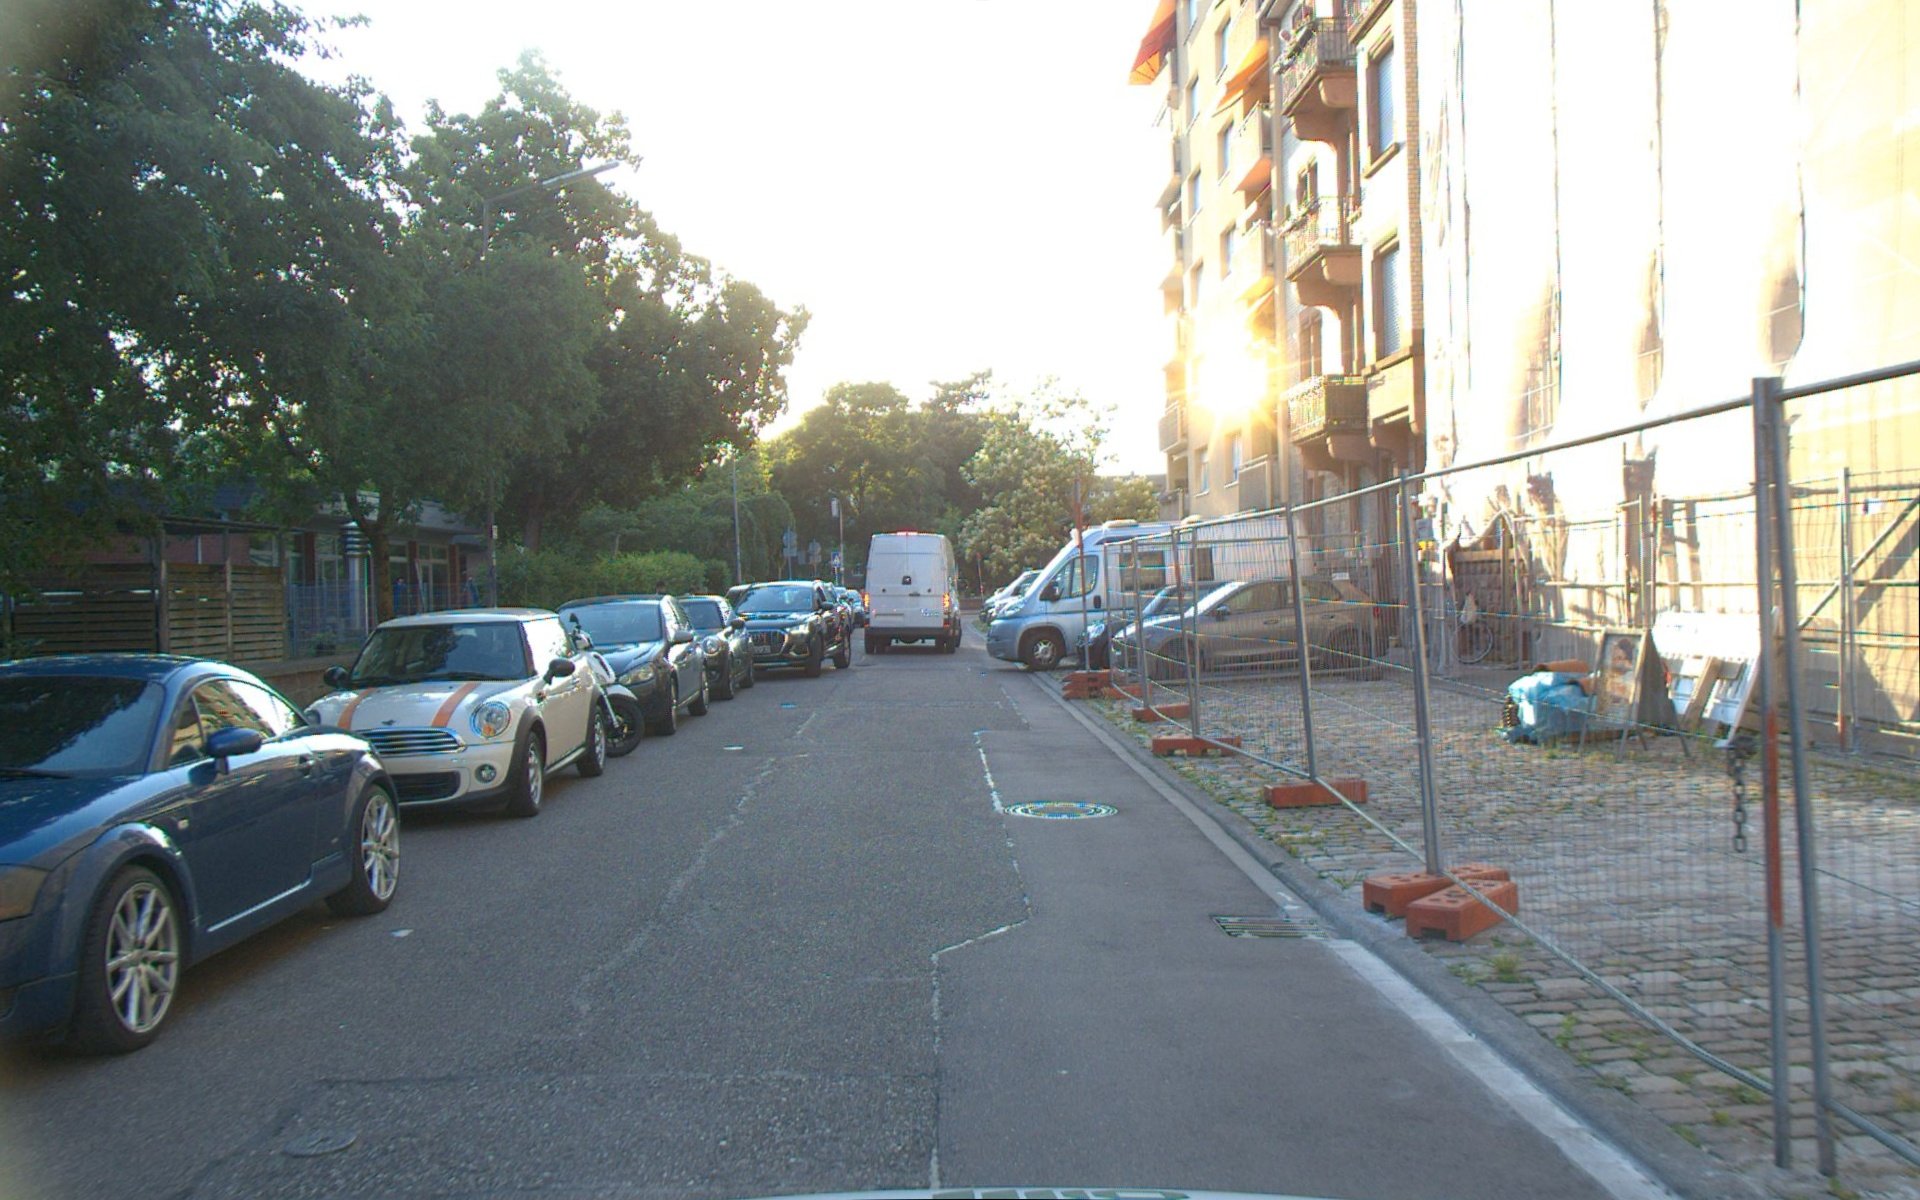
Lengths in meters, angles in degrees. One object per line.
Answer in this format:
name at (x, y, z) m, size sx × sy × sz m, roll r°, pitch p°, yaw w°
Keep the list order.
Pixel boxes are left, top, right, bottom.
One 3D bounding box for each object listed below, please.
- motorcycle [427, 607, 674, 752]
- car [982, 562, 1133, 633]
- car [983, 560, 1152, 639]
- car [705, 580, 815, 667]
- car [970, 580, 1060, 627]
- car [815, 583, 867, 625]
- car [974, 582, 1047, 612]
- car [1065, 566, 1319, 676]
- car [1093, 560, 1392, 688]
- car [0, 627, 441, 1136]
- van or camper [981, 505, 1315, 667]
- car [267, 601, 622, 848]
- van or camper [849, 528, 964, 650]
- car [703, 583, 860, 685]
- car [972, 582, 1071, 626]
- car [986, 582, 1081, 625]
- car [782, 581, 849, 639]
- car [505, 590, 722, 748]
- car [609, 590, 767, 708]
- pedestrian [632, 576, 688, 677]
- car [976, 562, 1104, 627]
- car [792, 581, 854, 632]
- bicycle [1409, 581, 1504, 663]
motorcycle at (-3.905, 0.734, 15.821) m, size 2.118 × 1.326 × 0.881 m, roll 0°, pitch 0°, yaw 13°
car at (3.068, -0.077, 52.551) m, size 4.612 × 2.183 × 1.999 m, roll 0°, pitch 0°, yaw -3°
car at (3.021, -0.031, 47.126) m, size 4.612 × 2.183 × 1.999 m, roll 0°, pitch 0°, yaw -3°
car at (-4.253, 0.466, 35.685) m, size 1.747 × 1.659 × 4.000 m, roll -3°, pitch 0°, yaw 1°
car at (2.392, 0.150, 72.960) m, size 3.905 × 2.049 × 2.000 m, roll 0°, pitch 0°, yaw 0°
car at (-4.750, 0.135, 66.466) m, size 1.954 × 1.646 × 3.998 m, roll 0°, pitch 0°, yaw -3°
car at (2.799, -0.166, 92.593) m, size 3.909 × 1.646 × 1.998 m, roll 0°, pitch 0°, yaw -5°
car at (3.745, 0.349, 27.227) m, size 3.855 × 1.512 × 1.787 m, roll -4°, pitch -1°, yaw 0°
car at (4.108, 0.331, 24.493) m, size 3.911 × 1.542 × 2.017 m, roll -4°, pitch 1°, yaw -6°
car at (-3.580, 0.867, 6.715) m, size 1.625 × 1.336 × 4.154 m, roll -3°, pitch 1°, yaw -1°
van or camper at (3.334, -0.259, 30.151) m, size 5.809 × 2.818 × 2.109 m, roll 0°, pitch 0°, yaw -3°
car at (-3.721, 0.805, 12.601) m, size 1.569 × 1.456 × 3.802 m, roll -4°, pitch 0°, yaw -3°
van or camper at (-1.145, -0.265, 38.557) m, size 2.403 × 2.591 × 6.083 m, roll 1°, pitch 0°, yaw 1°
car at (-3.031, 0.528, 28.986) m, size 1.766 × 1.596 × 4.568 m, roll -2°, pitch 0°, yaw 6°
car at (2.467, 0.158, 67.268) m, size 3.906 × 1.758 × 2.000 m, roll 0°, pitch 0°, yaw -1°
car at (3.099, 0.140, 70.324) m, size 3.906 × 1.758 × 2.000 m, roll 0°, pitch 0°, yaw -1°
car at (-4.479, 0.286, 51.232) m, size 1.955 × 1.691 × 3.996 m, roll -1°, pitch 0°, yaw -5°
car at (-3.842, 0.688, 19.016) m, size 1.681 × 1.522 × 4.358 m, roll -3°, pitch 1°, yaw -3°
car at (-3.885, 0.644, 24.181) m, size 1.604 × 1.504 × 3.992 m, roll -3°, pitch 0°, yaw 0°
pedestrian at (-5.647, 0.491, 31.144) m, size 0.919 × 1.862 × 0.786 m, roll 0°, pitch 0°, yaw -3°
car at (2.832, -0.212, 59.280) m, size 4.405 × 2.269 × 2.031 m, roll 0°, pitch 0°, yaw -2°
car at (-4.590, 0.210, 55.977) m, size 1.954 × 1.646 × 3.998 m, roll 0°, pitch 0°, yaw -3°
bicycle at (7.537, 0.306, 25.211) m, size 0.618 × 1.189 × 2.032 m, roll -1°, pitch 1°, yaw -7°
